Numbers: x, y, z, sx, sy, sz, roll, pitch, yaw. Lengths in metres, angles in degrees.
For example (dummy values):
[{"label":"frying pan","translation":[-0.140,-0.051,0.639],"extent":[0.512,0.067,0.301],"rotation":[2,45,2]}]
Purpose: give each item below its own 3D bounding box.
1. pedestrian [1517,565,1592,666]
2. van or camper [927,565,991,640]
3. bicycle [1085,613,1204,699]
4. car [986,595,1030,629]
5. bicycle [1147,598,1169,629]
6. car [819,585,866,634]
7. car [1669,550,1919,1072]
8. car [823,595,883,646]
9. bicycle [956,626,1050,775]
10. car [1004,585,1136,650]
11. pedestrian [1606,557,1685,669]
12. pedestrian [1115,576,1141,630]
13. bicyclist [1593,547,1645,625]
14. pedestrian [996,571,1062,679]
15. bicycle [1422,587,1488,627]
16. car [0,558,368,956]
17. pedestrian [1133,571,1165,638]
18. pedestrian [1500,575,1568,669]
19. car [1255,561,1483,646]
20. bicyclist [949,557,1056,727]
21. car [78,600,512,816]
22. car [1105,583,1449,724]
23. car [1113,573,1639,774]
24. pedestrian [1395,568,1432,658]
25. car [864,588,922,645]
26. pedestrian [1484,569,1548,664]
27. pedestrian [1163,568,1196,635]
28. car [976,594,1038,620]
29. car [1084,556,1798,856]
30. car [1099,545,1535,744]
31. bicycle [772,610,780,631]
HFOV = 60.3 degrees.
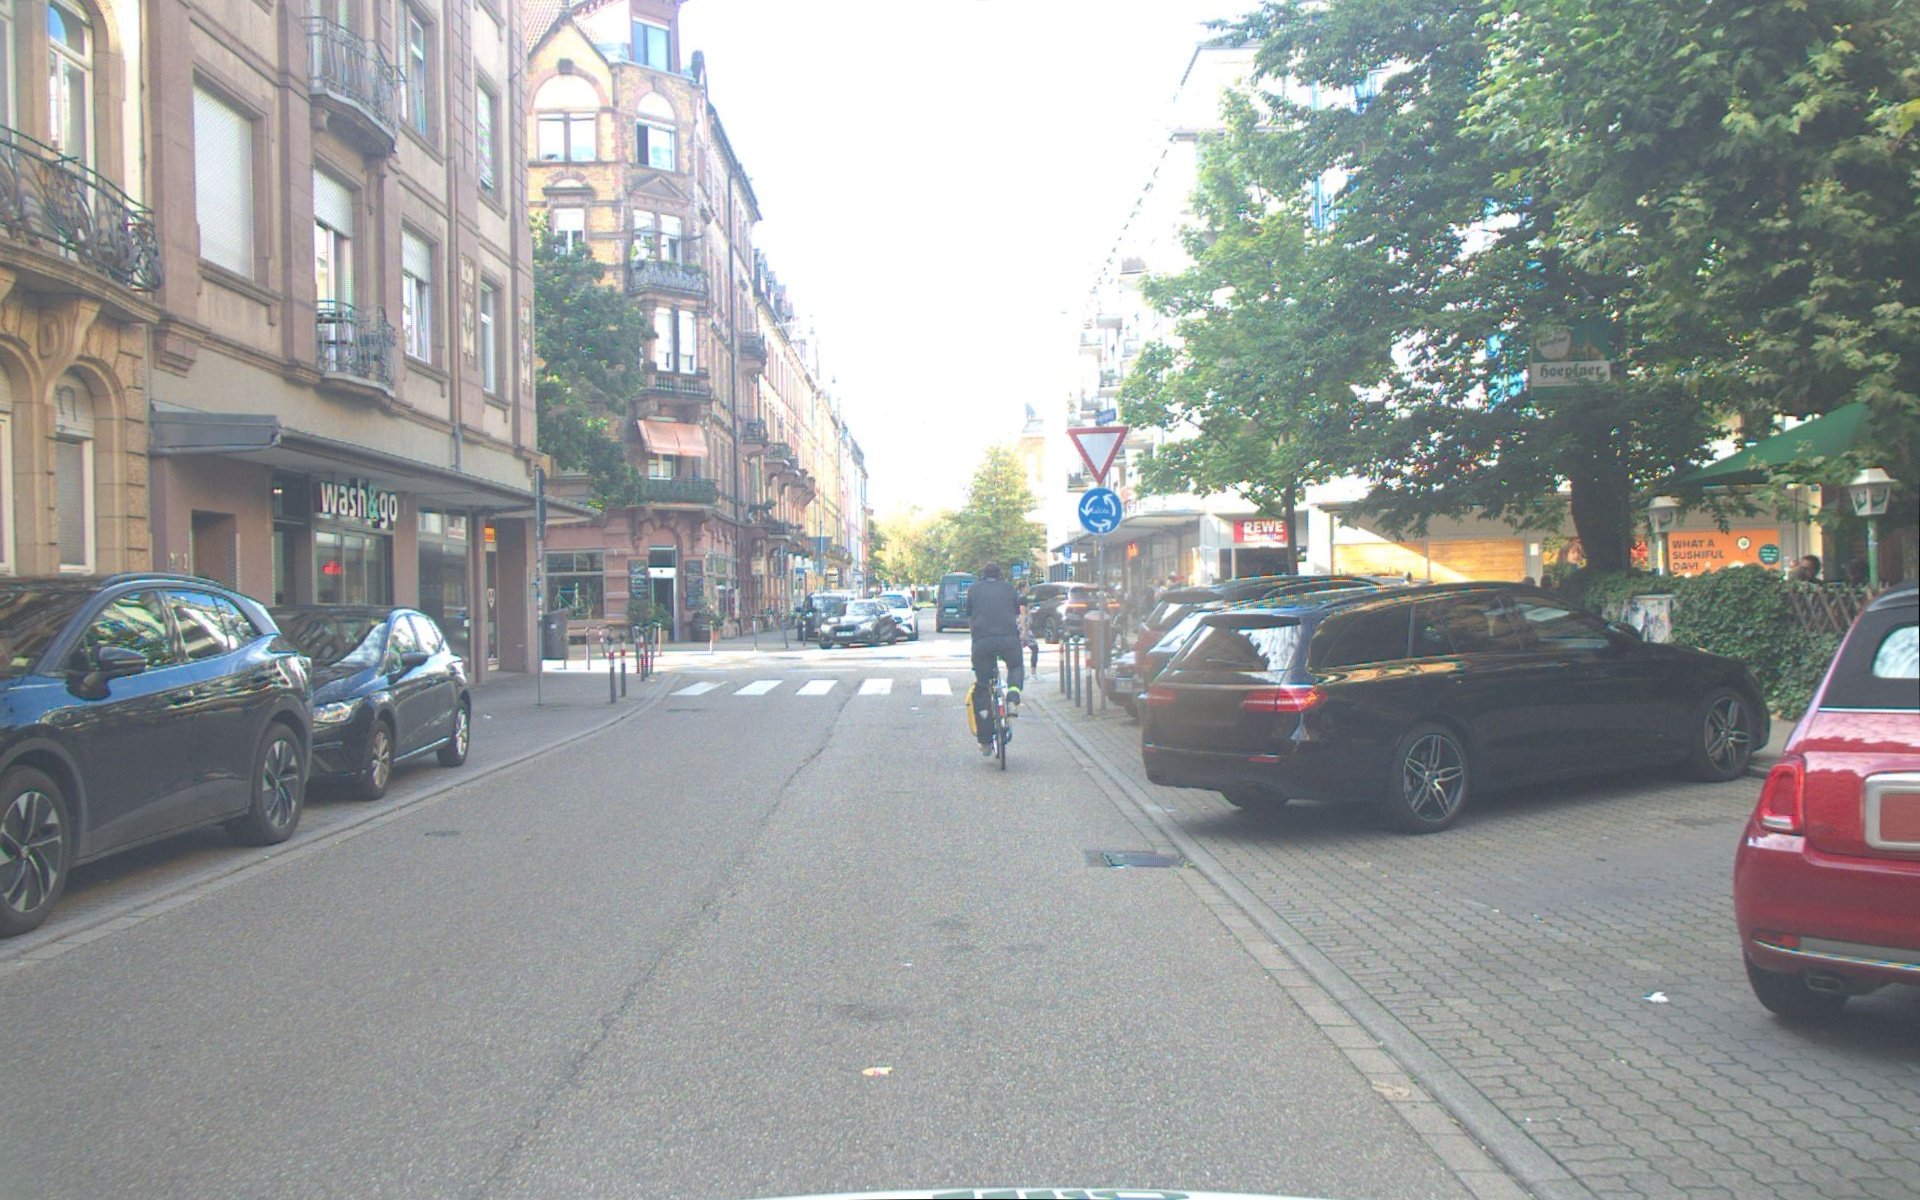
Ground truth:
[{"label":"pedestrian","translation":[8.660,0.226,24.112],"extent":[0.781,1.431,0.702],"rotation":[-2,0,-5]},{"label":"van or camper","translation":[-0.083,0.103,72.445],"extent":[2.481,3.090,4.456],"rotation":[-2,0,-3]},{"label":"bicycle","translation":[2.436,0.747,22.059],"extent":[0.542,1.058,1.838],"rotation":[-5,1,-30]},{"label":"car","translation":[2.264,0.546,79.418],"extent":[1.953,1.512,4.000],"rotation":[-2,0,0]},{"label":"bicycle","translation":[6.694,0.443,56.023],"extent":[0.356,1.034,1.428],"rotation":[-2,0,-9]},{"label":"car","translation":[-5.263,0.408,74.498],"extent":[1.954,2.049,3.998],"rotation":[-2,0,-3]},{"label":"car","translation":[4.306,0.549,5.941],"extent":[3.684,1.511,1.717],"rotation":[-4,1,-39]},{"label":"car","translation":[-3.234,0.621,50.462],"extent":[1.715,1.461,4.209],"rotation":[-1,-1,-3]},{"label":"bicycle","translation":[0.357,0.855,15.029],"extent":[0.652,1.198,2.495],"rotation":[0,0,-3]},{"label":"car","translation":[2.971,0.467,45.513],"extent":[1.968,1.646,3.969],"rotation":[-2,0,-24]},{"label":"pedestrian","translation":[9.099,0.167,21.968],"extent":[0.659,1.431,0.757],"rotation":[-2,0,-5]},{"label":"pedestrian","translation":[5.313,0.093,52.339],"extent":[0.729,1.657,0.813],"rotation":[-2,0,10]},{"label":"bicyclist","translation":[14.633,-0.311,36.758],"extent":[0.992,1.697,0.944],"rotation":[-2,0,19]},{"label":"pedestrian","translation":[1.176,0.425,28.326],"extent":[0.769,1.811,0.790],"rotation":[-2,0,37]},{"label":"bicycle","translation":[13.526,0.196,45.215],"extent":[1.653,1.069,0.455],"rotation":[-2,0,39]},{"label":"car","translation":[-4.918,0.686,8.879],"extent":[1.754,1.657,4.846],"rotation":[-2,0,-1]},{"label":"pedestrian","translation":[5.465,0.132,47.763],"extent":[0.850,1.883,0.613],"rotation":[-2,0,4]},{"label":"pedestrian","translation":[8.599,0.328,24.792],"extent":[0.742,1.366,0.596],"rotation":[-2,0,-5]},{"label":"car","translation":[9.556,0.100,38.810],"extent":[4.753,1.754,2.033],"rotation":[-2,2,39]},{"label":"bicyclist","translation":[0.374,0.370,15.100],"extent":[0.915,1.510,0.747],"rotation":[0,0,-4]},{"label":"car","translation":[-5.247,0.758,13.747],"extent":[1.953,1.445,4.243],"rotation":[-2,0,-2]},{"label":"car","translation":[3.868,0.590,20.085],"extent":[3.889,1.482,1.752],"rotation":[-2,0,-29]},{"label":"car","translation":[3.734,0.565,14.783],"extent":[4.346,1.482,1.927],"rotation":[-2,0,-26]},{"label":"pedestrian","translation":[9.132,0.257,33.307],"extent":[0.615,1.769,0.776],"rotation":[-2,0,11]},{"label":"car","translation":[-2.370,0.558,59.668],"extent":[1.903,1.752,4.849],"rotation":[-3,2,-1]},{"label":"pedestrian","translation":[8.527,0.254,25.375],"extent":[0.742,1.417,0.548],"rotation":[-2,0,-5]},{"label":"pedestrian","translation":[6.324,0.041,47.719],"extent":[0.850,1.883,0.613],"rotation":[-2,0,4]},{"label":"car","translation":[3.087,0.466,108.617],"extent":[3.908,1.512,1.999],"rotation":[-2,0,-3]},{"label":"car","translation":[3.393,0.575,11.464],"extent":[4.702,1.482,2.037],"rotation":[-4,2,-29]},{"label":"car","translation":[3.793,0.401,17.451],"extent":[4.291,1.673,1.805],"rotation":[-4,1,-27]},{"label":"bicycle","translation":[-8.599,0.956,77.220],"extent":[0.353,0.963,1.713],"rotation":[-1,0,-5]}]
